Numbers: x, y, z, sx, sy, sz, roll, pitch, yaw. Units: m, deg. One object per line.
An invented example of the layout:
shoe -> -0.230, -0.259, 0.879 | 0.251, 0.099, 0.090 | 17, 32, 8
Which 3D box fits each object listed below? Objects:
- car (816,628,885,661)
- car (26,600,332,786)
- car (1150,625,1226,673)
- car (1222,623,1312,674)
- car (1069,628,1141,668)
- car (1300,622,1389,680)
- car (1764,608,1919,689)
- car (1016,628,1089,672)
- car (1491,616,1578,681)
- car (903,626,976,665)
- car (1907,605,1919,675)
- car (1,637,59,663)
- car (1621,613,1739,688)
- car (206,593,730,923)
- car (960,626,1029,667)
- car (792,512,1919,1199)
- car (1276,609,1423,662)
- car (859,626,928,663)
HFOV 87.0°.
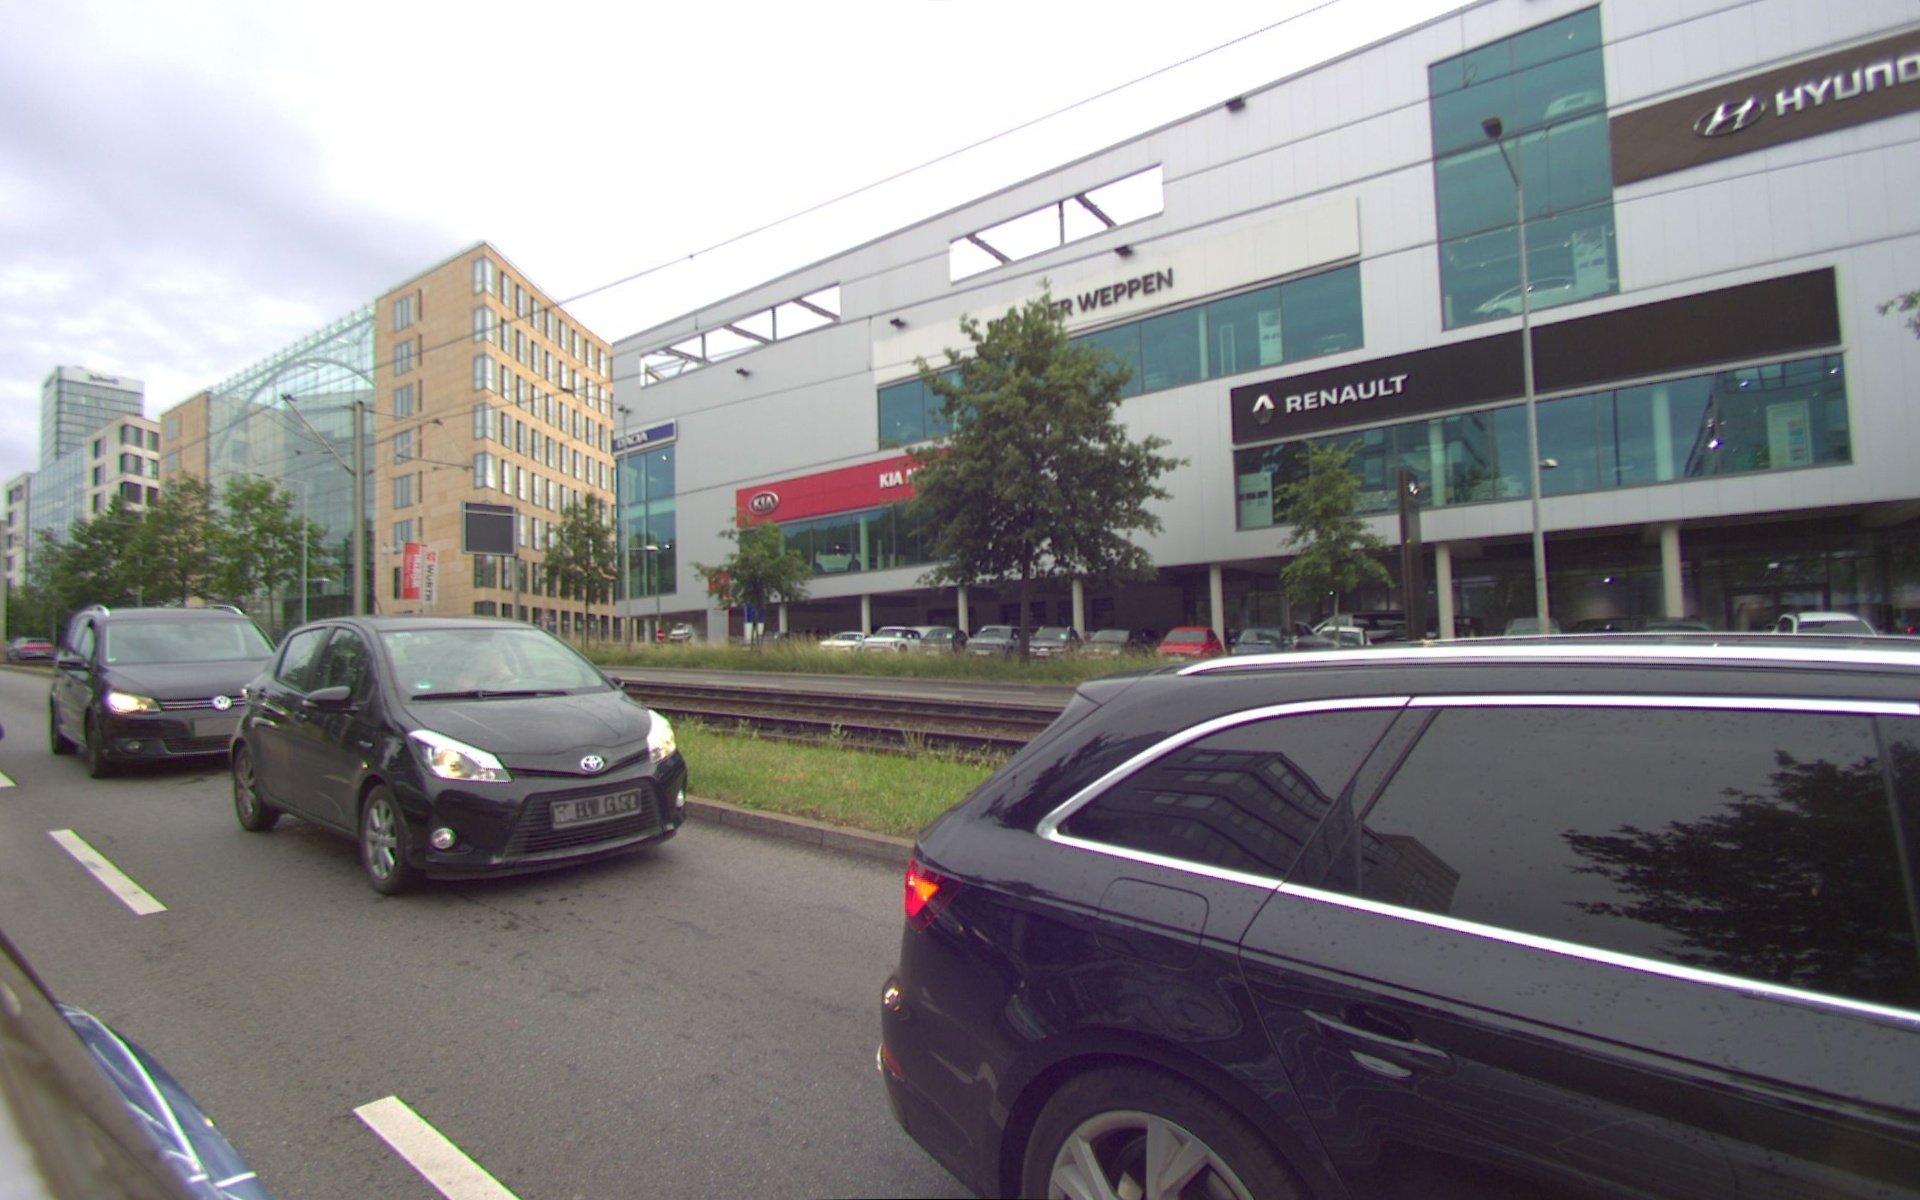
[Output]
car -> -4.772, 1.945, 44.644 | 1.685, 1.196, 3.643 | -2, 1, 18
car -> -8.508, 0.855, 10.886 | 4.314, 1.619, 1.763 | -1, -1, 40
car -> 7.825, 1.621, 34.449 | 1.789, 1.362, 3.903 | -2, 1, 24
car -> 10.088, 1.546, 33.046 | 1.914, 1.362, 4.005 | -1, 1, 30
car -> 5.258, 1.691, 36.327 | 1.689, 1.190, 3.498 | -2, 1, 24
car -> 11.962, 1.522, 31.349 | 1.914, 1.470, 4.005 | -1, 1, 30
car -> 20.606, 1.056, 23.811 | 1.992, 1.562, 4.331 | -1, 1, 30
car -> 3.510, 1.843, 37.788 | 1.689, 1.362, 3.498 | -2, 1, 24
car -> 15.869, 1.278, 27.974 | 1.925, 1.470, 3.981 | -1, 1, 30
car -> -0.775, 1.819, 41.036 | 1.688, 1.362, 3.499 | -2, 1, 23
car -> 22.850, 0.978, 22.261 | 1.992, 1.627, 4.331 | -1, 1, 30
car -> -63.347, 3.404, 68.920 | 4.832, 1.733, 1.975 | -1, -4, 37
car -> 18.068, 1.202, 25.587 | 1.992, 1.562, 4.331 | -1, 1, 30
car -> -3.375, 0.781, 6.637 | 3.823, 1.544, 1.683 | -1, -1, 40
car -> 1.404, 1.799, 39.712 | 1.686, 1.362, 3.503 | -2, 1, 20
car -> 1.890, 0.641, 1.499 | 4.511, 1.478, 1.762 | -2, -2, 41
car -> 13.969, 1.259, 36.501 | 4.488, 1.796, 1.997 | -1, -1, 5
car -> -2.782, 1.875, 42.967 | 1.685, 1.304, 3.643 | -2, 1, 18
